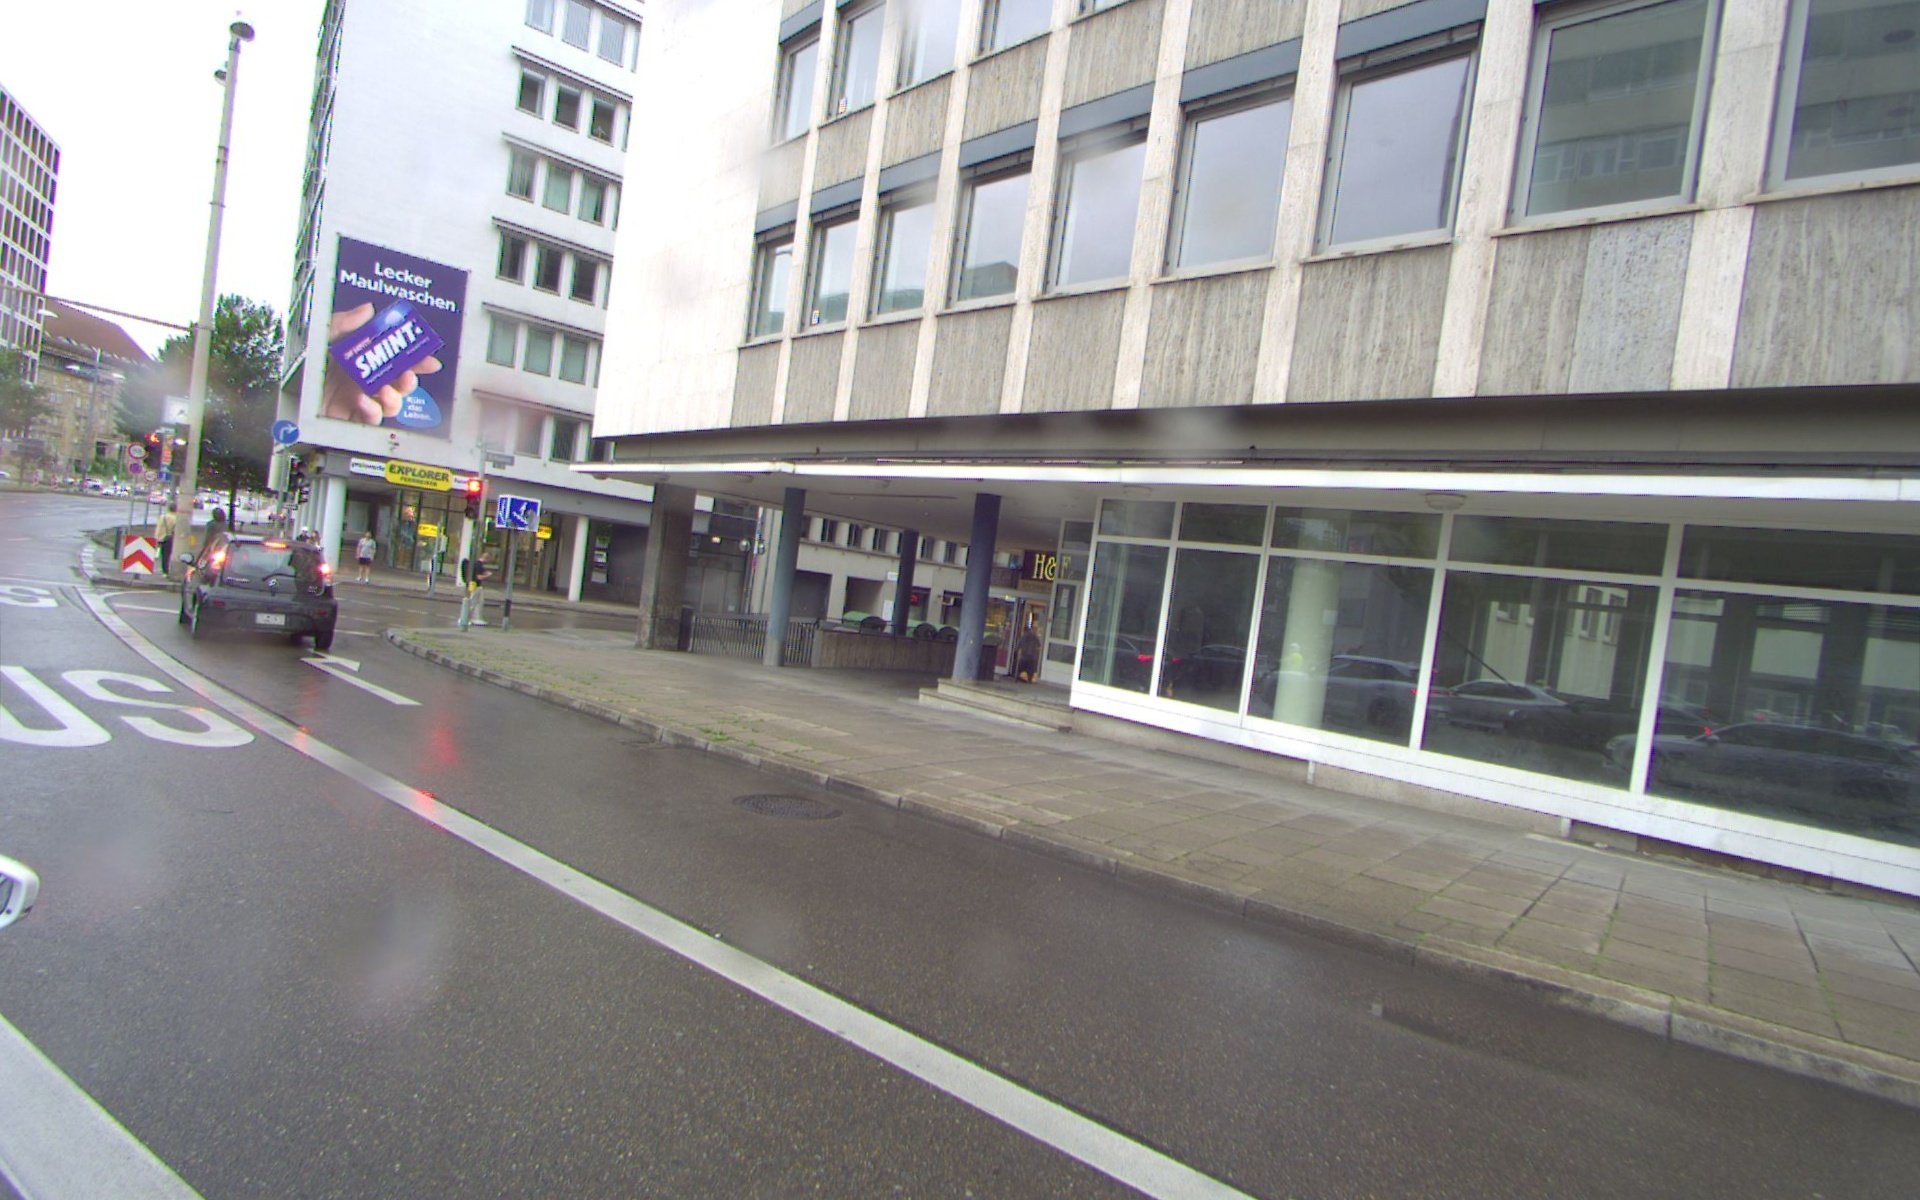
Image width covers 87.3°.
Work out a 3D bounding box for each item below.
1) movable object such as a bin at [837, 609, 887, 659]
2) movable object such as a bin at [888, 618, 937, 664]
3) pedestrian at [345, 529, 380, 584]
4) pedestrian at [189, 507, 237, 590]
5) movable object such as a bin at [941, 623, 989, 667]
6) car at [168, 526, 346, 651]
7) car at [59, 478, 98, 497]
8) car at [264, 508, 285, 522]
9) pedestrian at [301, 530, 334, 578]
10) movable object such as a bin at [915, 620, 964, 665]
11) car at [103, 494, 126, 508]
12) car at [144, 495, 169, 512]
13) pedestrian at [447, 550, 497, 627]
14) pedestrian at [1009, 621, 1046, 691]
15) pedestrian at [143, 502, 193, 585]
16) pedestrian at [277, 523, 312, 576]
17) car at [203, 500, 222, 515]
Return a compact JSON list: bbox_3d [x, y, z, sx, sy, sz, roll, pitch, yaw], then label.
[{"bbox_3d":[-3.273,1.131,33.532,0.961,1.447,1.268,7,1,-36],"label":"movable object such as a bin"},{"bbox_3d":[-1.664,1.423,35.207,1.094,1.399,1.186,7,1,-37],"label":"movable object such as a bin"},{"bbox_3d":[-20.931,-1.525,35.272,0.660,1.815,0.771,7,0,-15],"label":"pedestrian"},{"bbox_3d":[-17.696,-1.224,23.836,0.745,1.820,0.808,7,1,-38],"label":"pedestrian"},{"bbox_3d":[0.169,1.638,36.623,1.094,1.399,1.186,7,1,-37],"label":"movable object such as a bin"},{"bbox_3d":[-10.445,-0.231,14.826,1.566,1.446,3.953,9,-2,-42],"label":"car"},{"bbox_3d":[-132.548,-16.845,151.320,3.961,2.037,1.983,9,-1,-32],"label":"car"},{"bbox_3d":[-91.691,-11.375,134.612,1.680,1.503,3.973,8,-2,-28],"label":"car"},{"bbox_3d":[-22.179,-1.580,34.715,0.616,1.561,0.651,8,0,-15],"label":"pedestrian"},{"bbox_3d":[-0.735,1.512,35.935,1.094,1.399,1.186,7,1,-37],"label":"movable object such as a bin"},{"bbox_3d":[-106.131,-12.410,126.298,1.622,1.454,3.871,8,0,-34],"label":"car"},{"bbox_3d":[-95.300,-11.416,119.319,1.878,1.662,3.962,8,-1,-35],"label":"car"},{"bbox_3d":[-11.854,-0.267,24.453,0.768,1.752,0.589,7,0,-44],"label":"pedestrian"},{"bbox_3d":[1.848,1.522,27.624,0.698,1.825,0.800,8,0,-1],"label":"pedestrian"},{"bbox_3d":[-18.461,-1.323,23.464,0.745,1.820,0.808,7,1,-38],"label":"pedestrian"},{"bbox_3d":[-22.805,-1.723,34.483,0.660,1.675,0.651,8,0,-15],"label":"pedestrian"},{"bbox_3d":[-127.162,-15.669,171.141,1.980,2.037,3.968,8,-1,-31],"label":"car"}]
